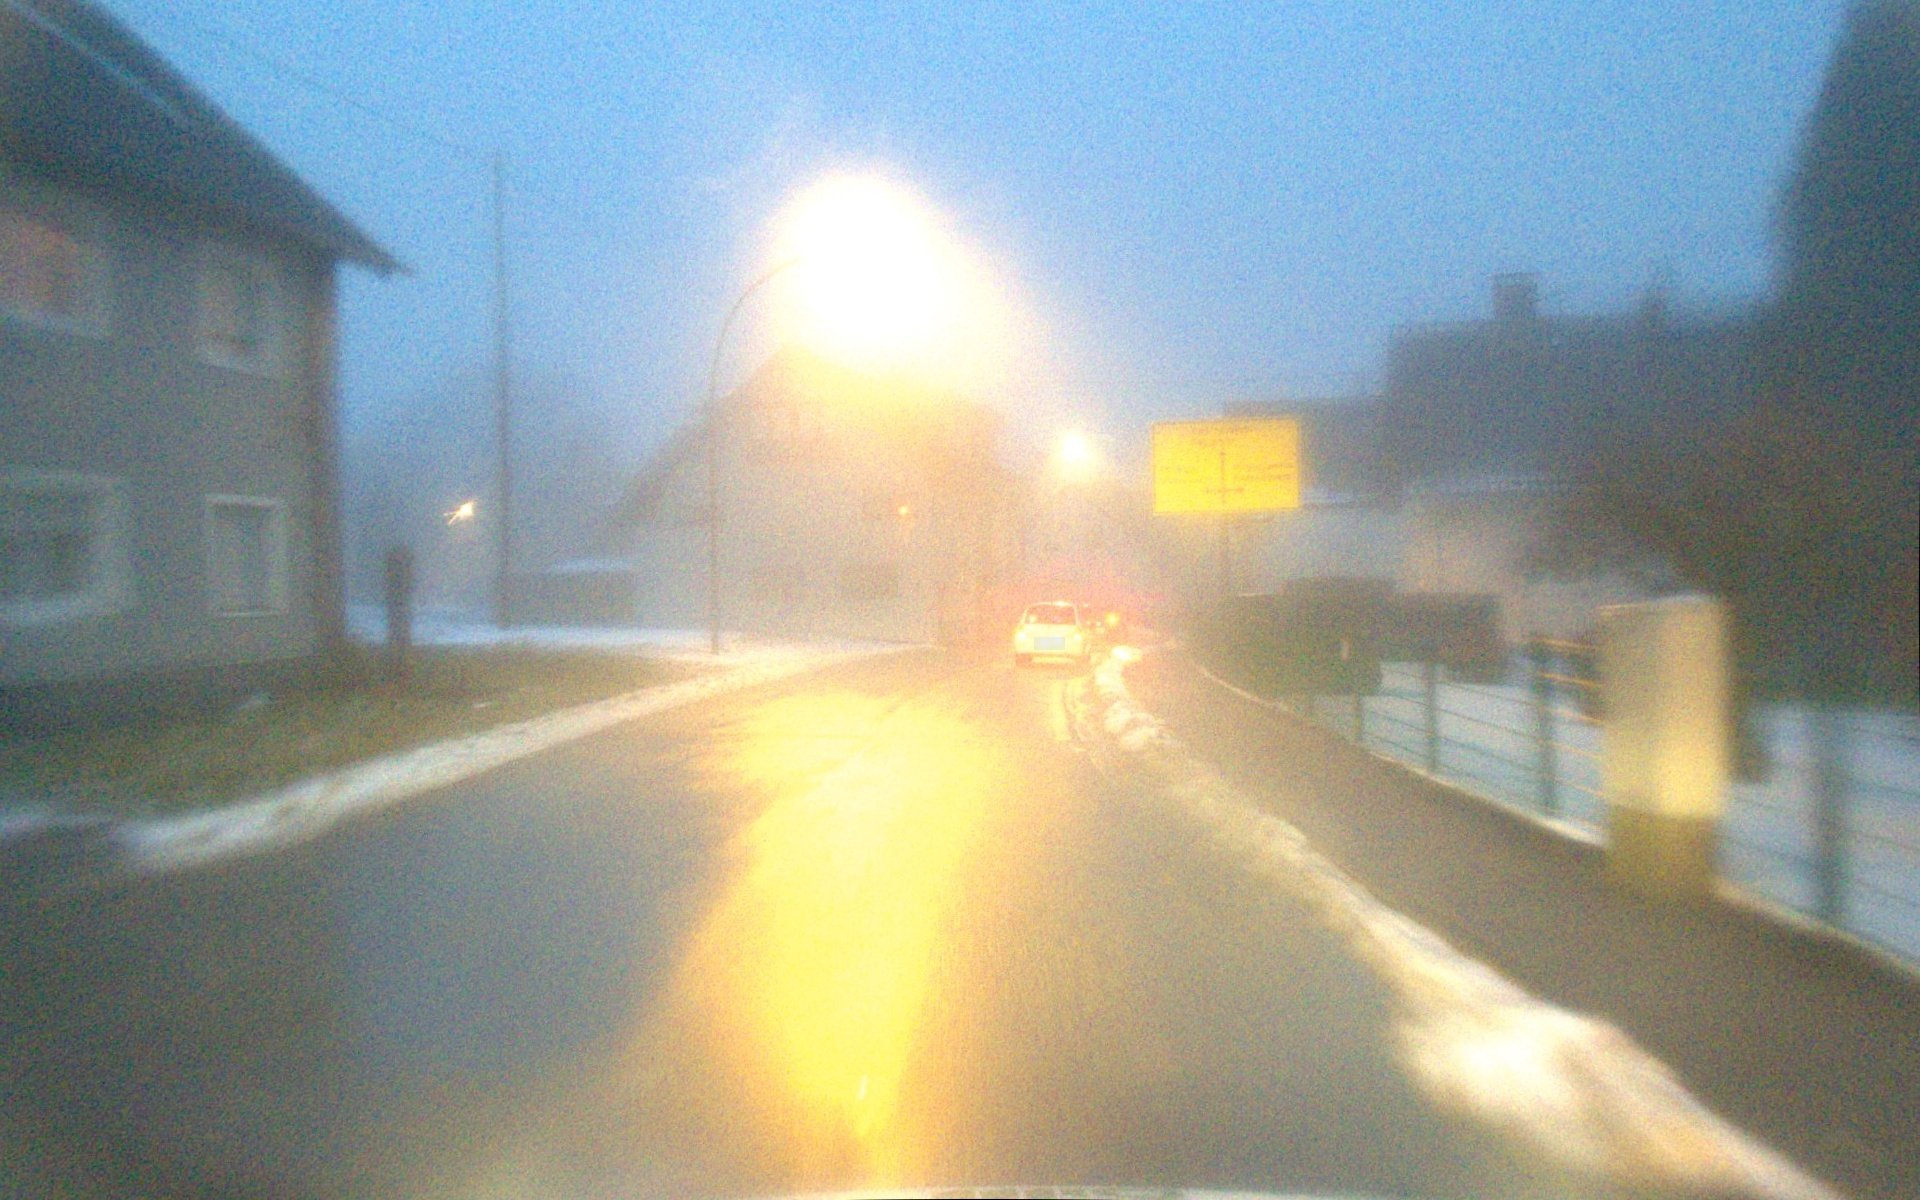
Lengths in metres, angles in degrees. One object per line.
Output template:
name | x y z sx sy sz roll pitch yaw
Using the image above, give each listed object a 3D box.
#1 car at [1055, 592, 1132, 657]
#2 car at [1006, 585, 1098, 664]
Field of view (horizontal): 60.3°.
car | 4.479 0.774 54.879 1.951 1.869 4.005 -3 2 12
car | 2.161 0.515 38.251 1.952 1.534 4.003 -3 2 4
